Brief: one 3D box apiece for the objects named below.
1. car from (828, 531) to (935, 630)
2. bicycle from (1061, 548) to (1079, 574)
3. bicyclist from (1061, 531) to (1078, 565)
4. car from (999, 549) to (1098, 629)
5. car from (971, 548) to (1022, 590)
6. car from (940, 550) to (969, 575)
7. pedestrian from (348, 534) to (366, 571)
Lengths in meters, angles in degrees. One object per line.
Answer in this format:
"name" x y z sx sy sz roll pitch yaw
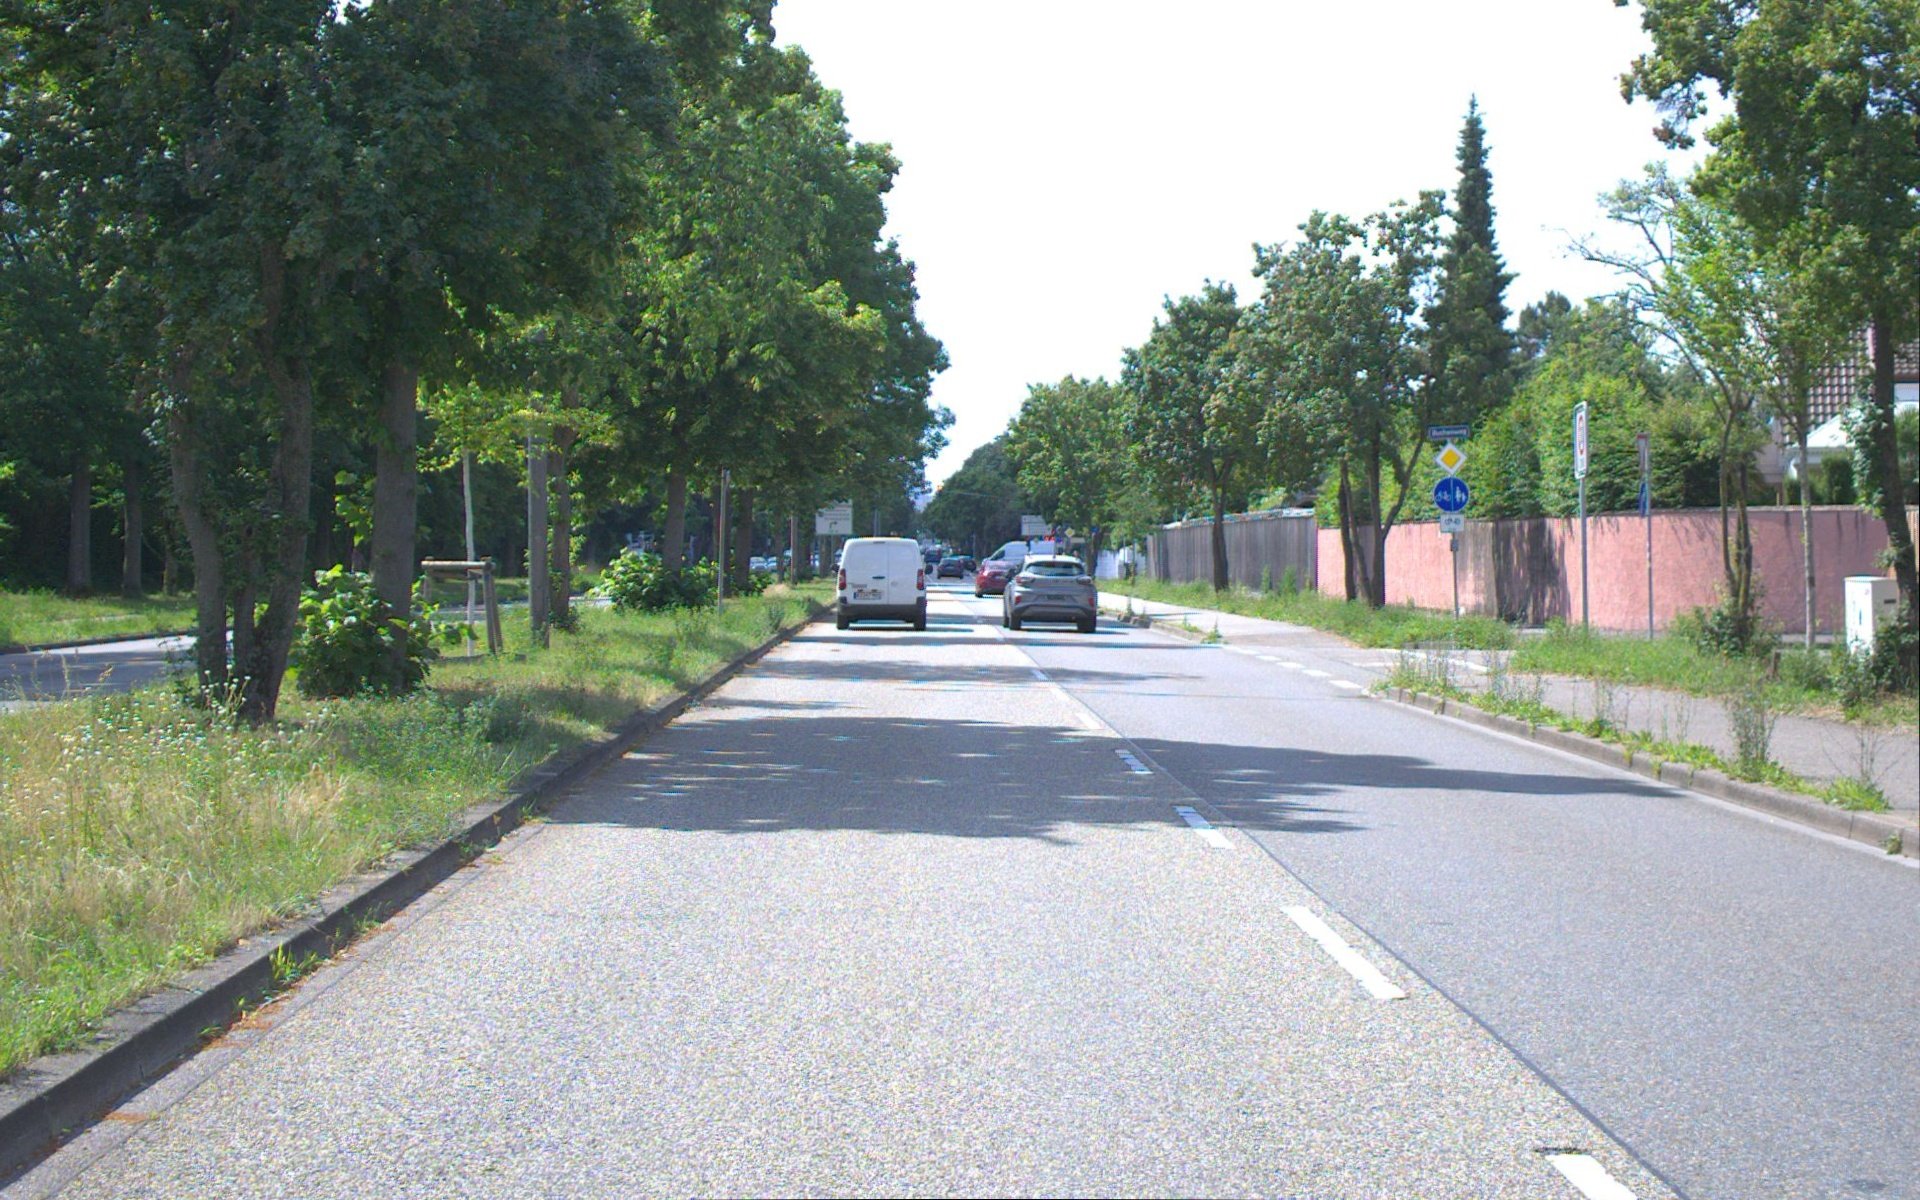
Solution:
"car" -1.553 -0.421 69.419 2.066 1.905 4.646 1 1 -1
"bicycle" 4.692 -1.660 146.949 0.646 1.064 2.278 -2 1 0
"bicyclist" 4.676 -2.212 147.023 0.654 1.407 0.986 -2 1 0
"car" 1.790 -0.248 70.682 1.875 1.583 4.185 0 1 0
"car" 1.388 -1.198 132.948 1.880 1.581 4.000 1 1 -1
"car" -0.378 -2.701 246.804 1.993 1.766 4.147 2 1 -1
"pedestrian" -26.688 -2.093 152.108 0.644 1.624 0.656 2 1 0
